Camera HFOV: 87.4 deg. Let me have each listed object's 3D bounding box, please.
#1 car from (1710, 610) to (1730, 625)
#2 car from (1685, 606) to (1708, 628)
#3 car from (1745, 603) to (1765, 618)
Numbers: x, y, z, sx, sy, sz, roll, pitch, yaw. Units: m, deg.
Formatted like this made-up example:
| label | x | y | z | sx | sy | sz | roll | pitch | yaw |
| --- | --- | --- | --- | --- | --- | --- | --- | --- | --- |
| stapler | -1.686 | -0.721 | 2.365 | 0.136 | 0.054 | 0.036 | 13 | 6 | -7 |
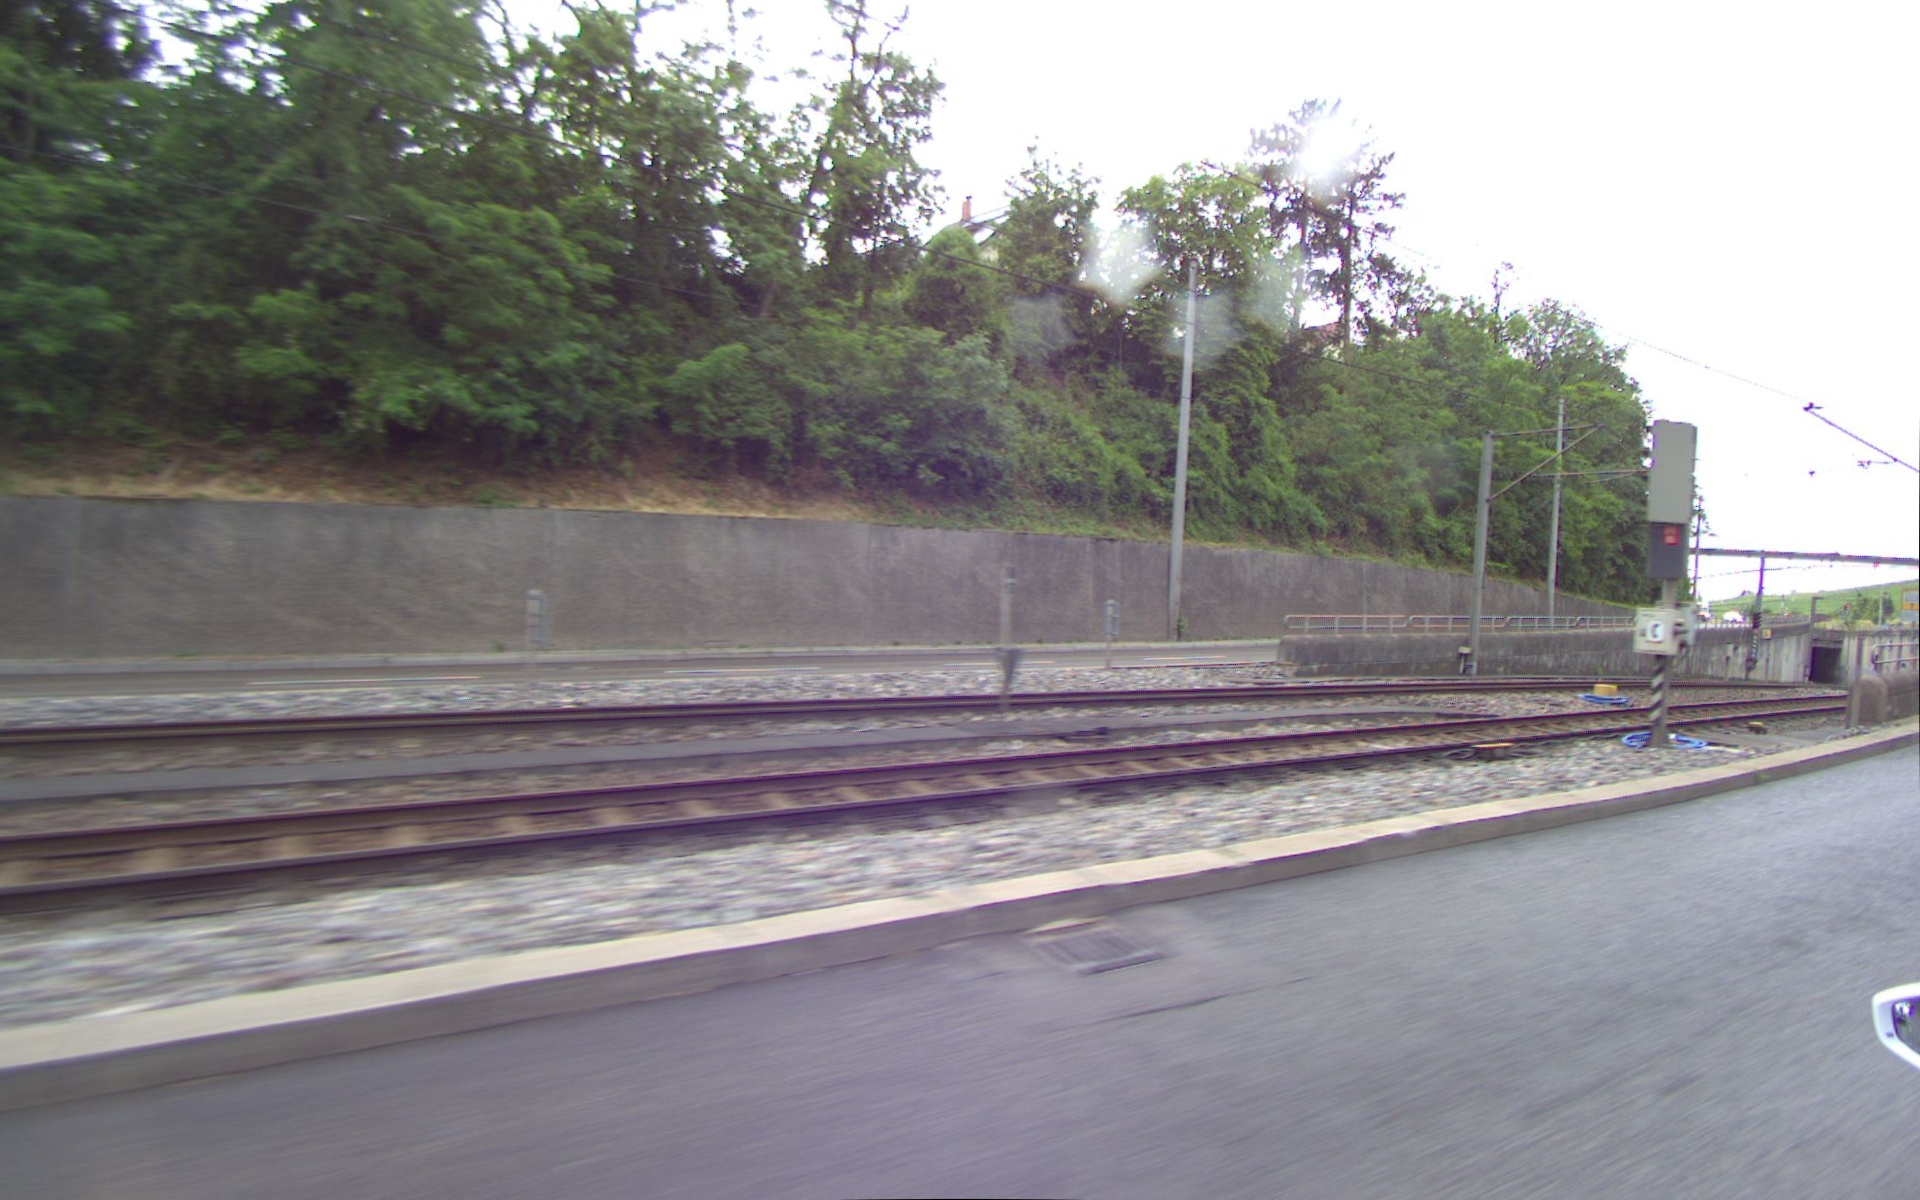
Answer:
| label | x | y | z | sx | sy | sz | roll | pitch | yaw |
| --- | --- | --- | --- | --- | --- | --- | --- | --- | --- |
| car | 94.365 | 2.214 | 124.687 | 1.795 | 1.726 | 4.093 | 1 | 0 | 39 |
| car | 98.726 | 2.284 | 134.652 | 2.156 | 2.771 | 6.317 | 1 | 0 | 39 |
| car | 102.036 | 1.366 | 128.936 | 1.936 | 1.773 | 4.125 | 1 | 0 | 37 |
